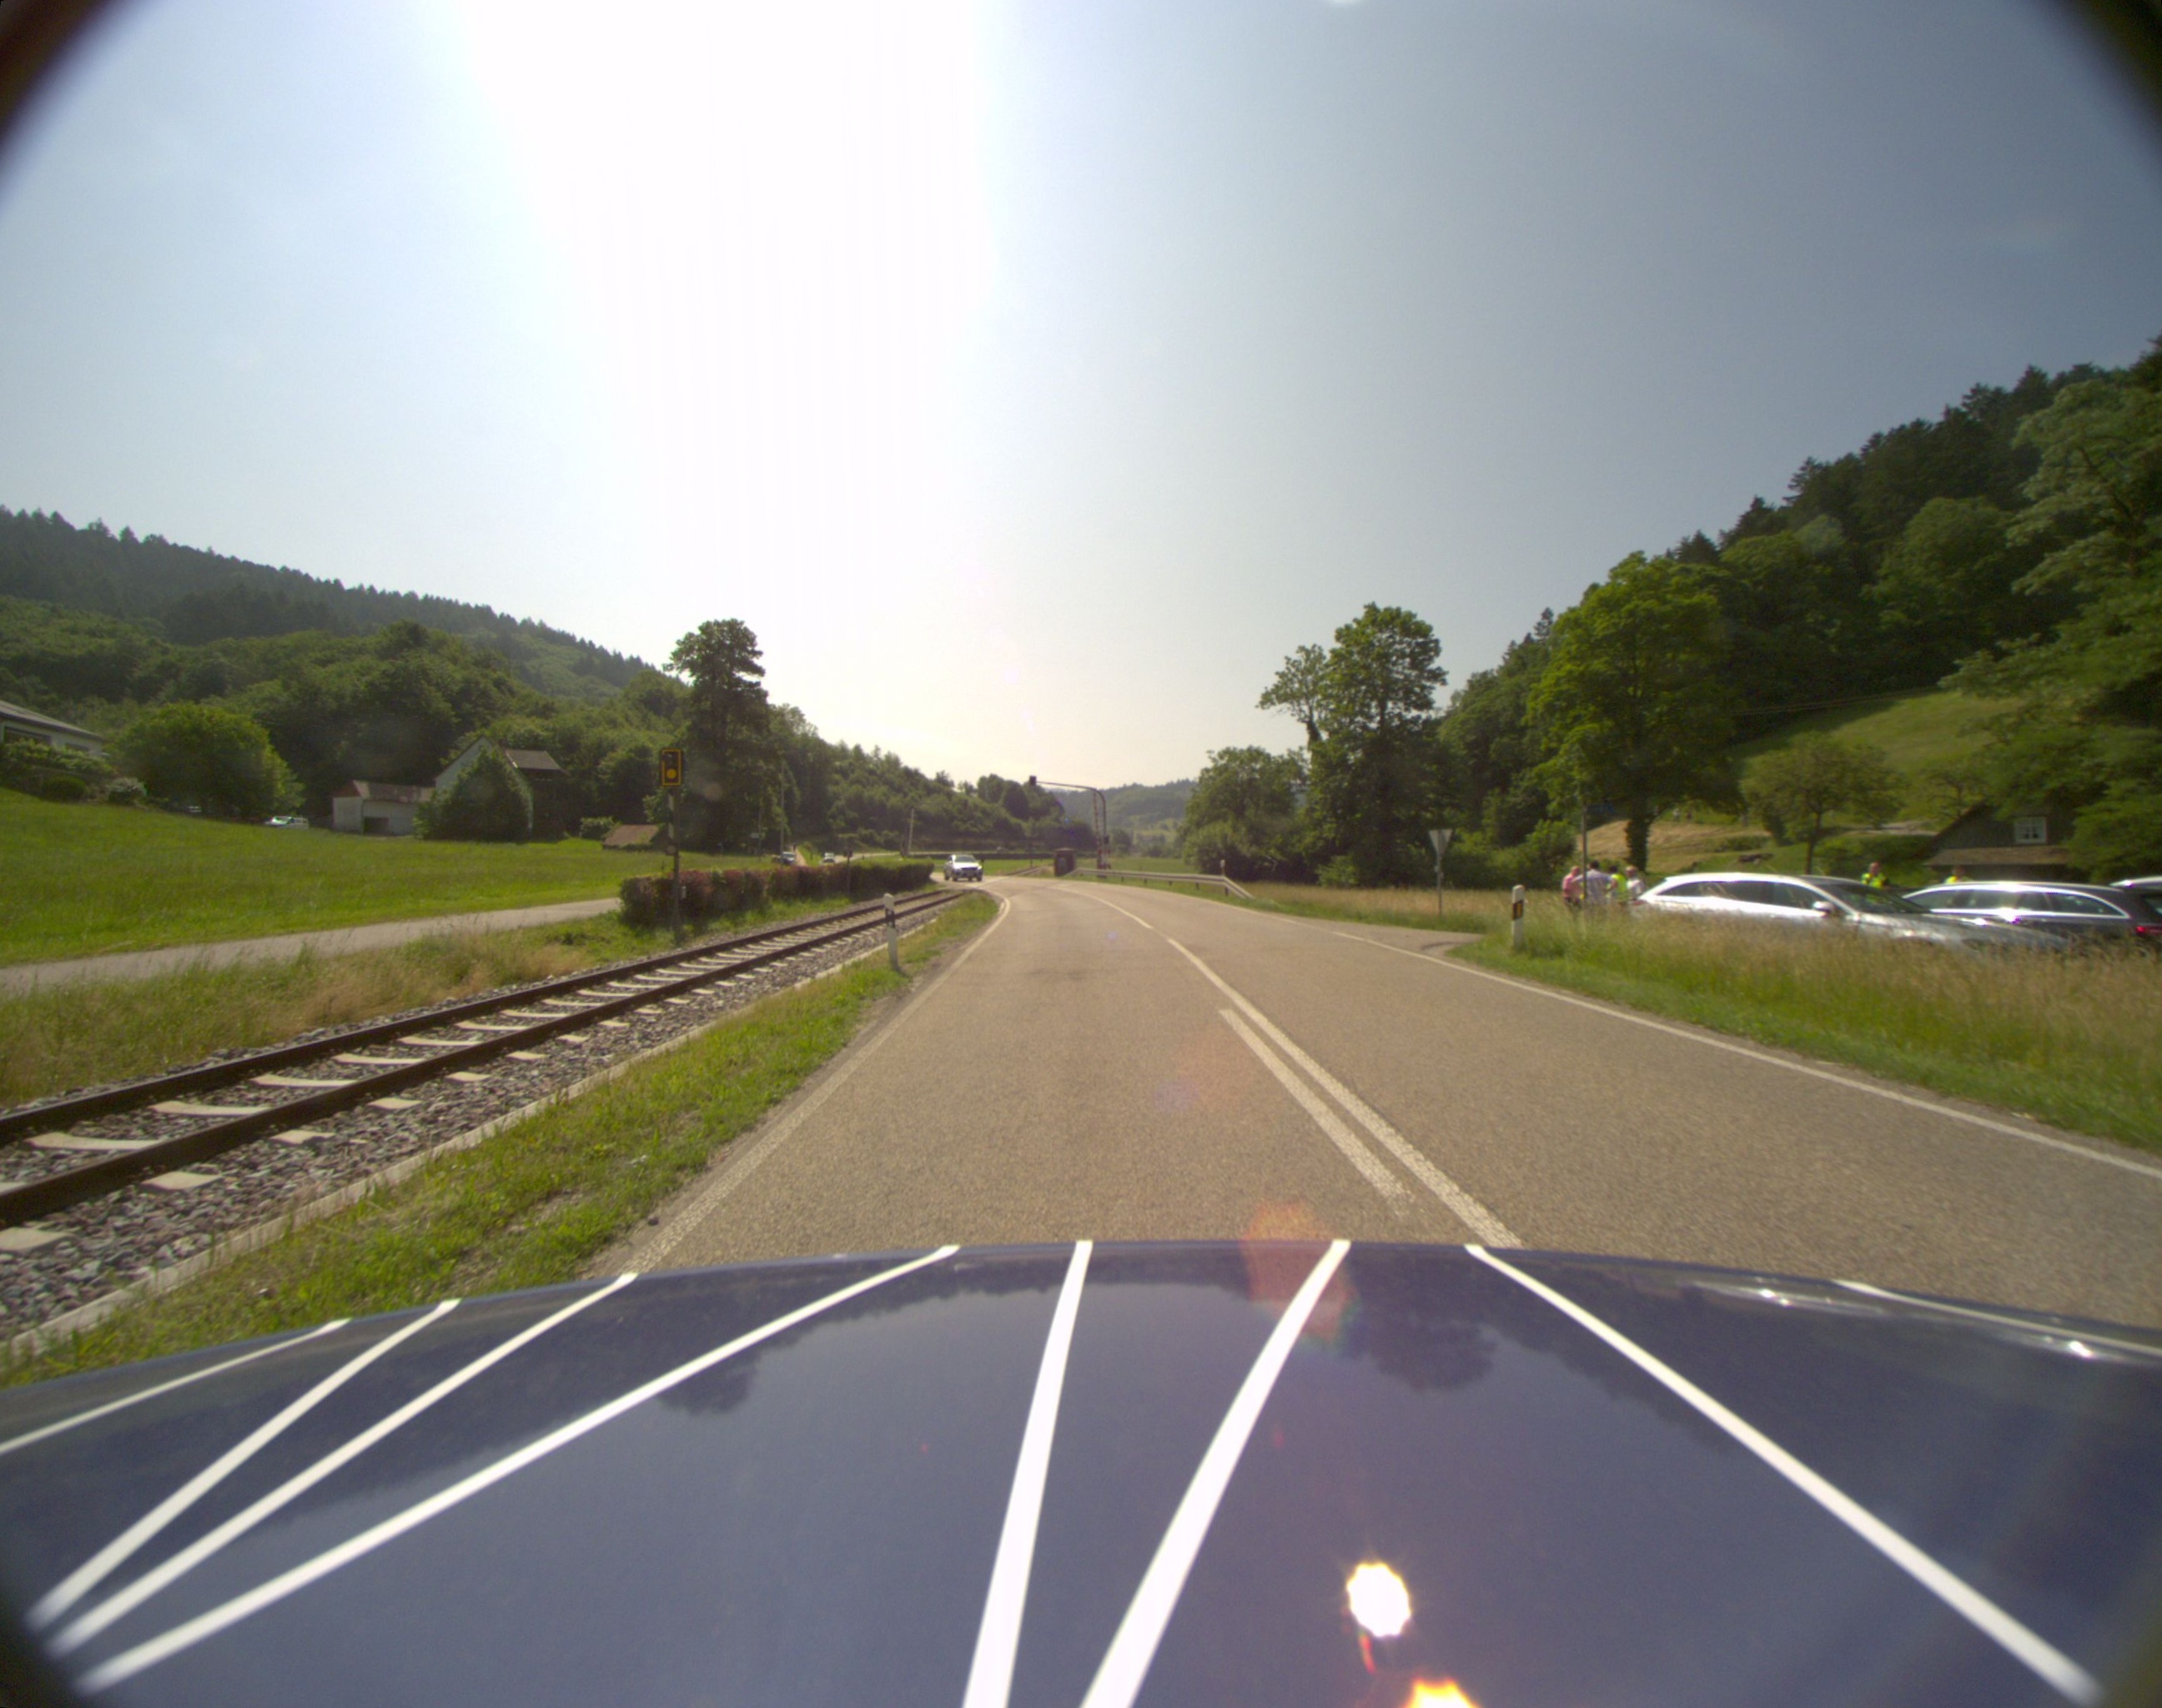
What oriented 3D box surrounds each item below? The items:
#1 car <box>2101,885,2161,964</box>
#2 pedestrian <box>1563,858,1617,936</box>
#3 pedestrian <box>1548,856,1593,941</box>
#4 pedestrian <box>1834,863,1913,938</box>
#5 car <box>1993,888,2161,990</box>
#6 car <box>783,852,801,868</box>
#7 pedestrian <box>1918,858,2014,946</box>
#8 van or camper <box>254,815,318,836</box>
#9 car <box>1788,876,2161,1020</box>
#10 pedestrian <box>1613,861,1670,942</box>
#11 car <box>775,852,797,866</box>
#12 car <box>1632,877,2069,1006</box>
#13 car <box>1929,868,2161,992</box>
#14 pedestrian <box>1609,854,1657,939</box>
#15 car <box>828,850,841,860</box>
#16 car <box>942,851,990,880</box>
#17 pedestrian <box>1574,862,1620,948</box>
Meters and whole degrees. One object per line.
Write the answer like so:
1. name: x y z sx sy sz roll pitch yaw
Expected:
1. car: 22.099 1.403 13.361 2.001 1.492 4.516 2 0 -13
2. pedestrian: 12.293 1.032 18.374 0.790 1.831 0.698 2 0 0
3. pedestrian: 11.443 1.041 17.769 0.663 1.943 0.532 2 0 -21
4. pedestrian: 19.486 1.126 18.688 0.958 1.784 0.998 2 0 -19
5. car: 19.477 1.528 12.782 2.000 1.631 4.897 2 0 -11
6. car: -38.920 0.800 102.382 2.008 1.837 4.859 6 -2 -21
7. pedestrian: 20.390 1.079 17.528 1.129 1.958 0.862 2 0 -1
8. van or camper: -87.440 -3.104 83.675 2.821 1.938 5.426 2 -1 -22
9. car: 14.235 1.273 11.832 1.999 1.642 4.620 2 0 -2
10. pedestrian: 12.893 1.073 17.510 0.769 1.785 0.795 2 0 16
11. car: -36.465 0.640 93.847 1.682 1.448 3.705 4 0 -35
12. car: 11.015 1.146 11.407 1.833 1.491 4.274 4 -2 -11
13. car: 16.798 1.151 11.694 1.877 1.772 4.768 1 0 -7
14. pedestrian: 12.221 0.922 16.851 0.647 1.829 0.772 2 0 23
15. car: -43.694 0.134 134.820 2.001 1.774 3.994 1 0 -15
16. car: -7.874 0.764 51.679 2.122 1.803 4.446 2 0 -23
17. pedestrian: 11.587 1.127 17.085 0.647 1.848 0.772 2 0 23
